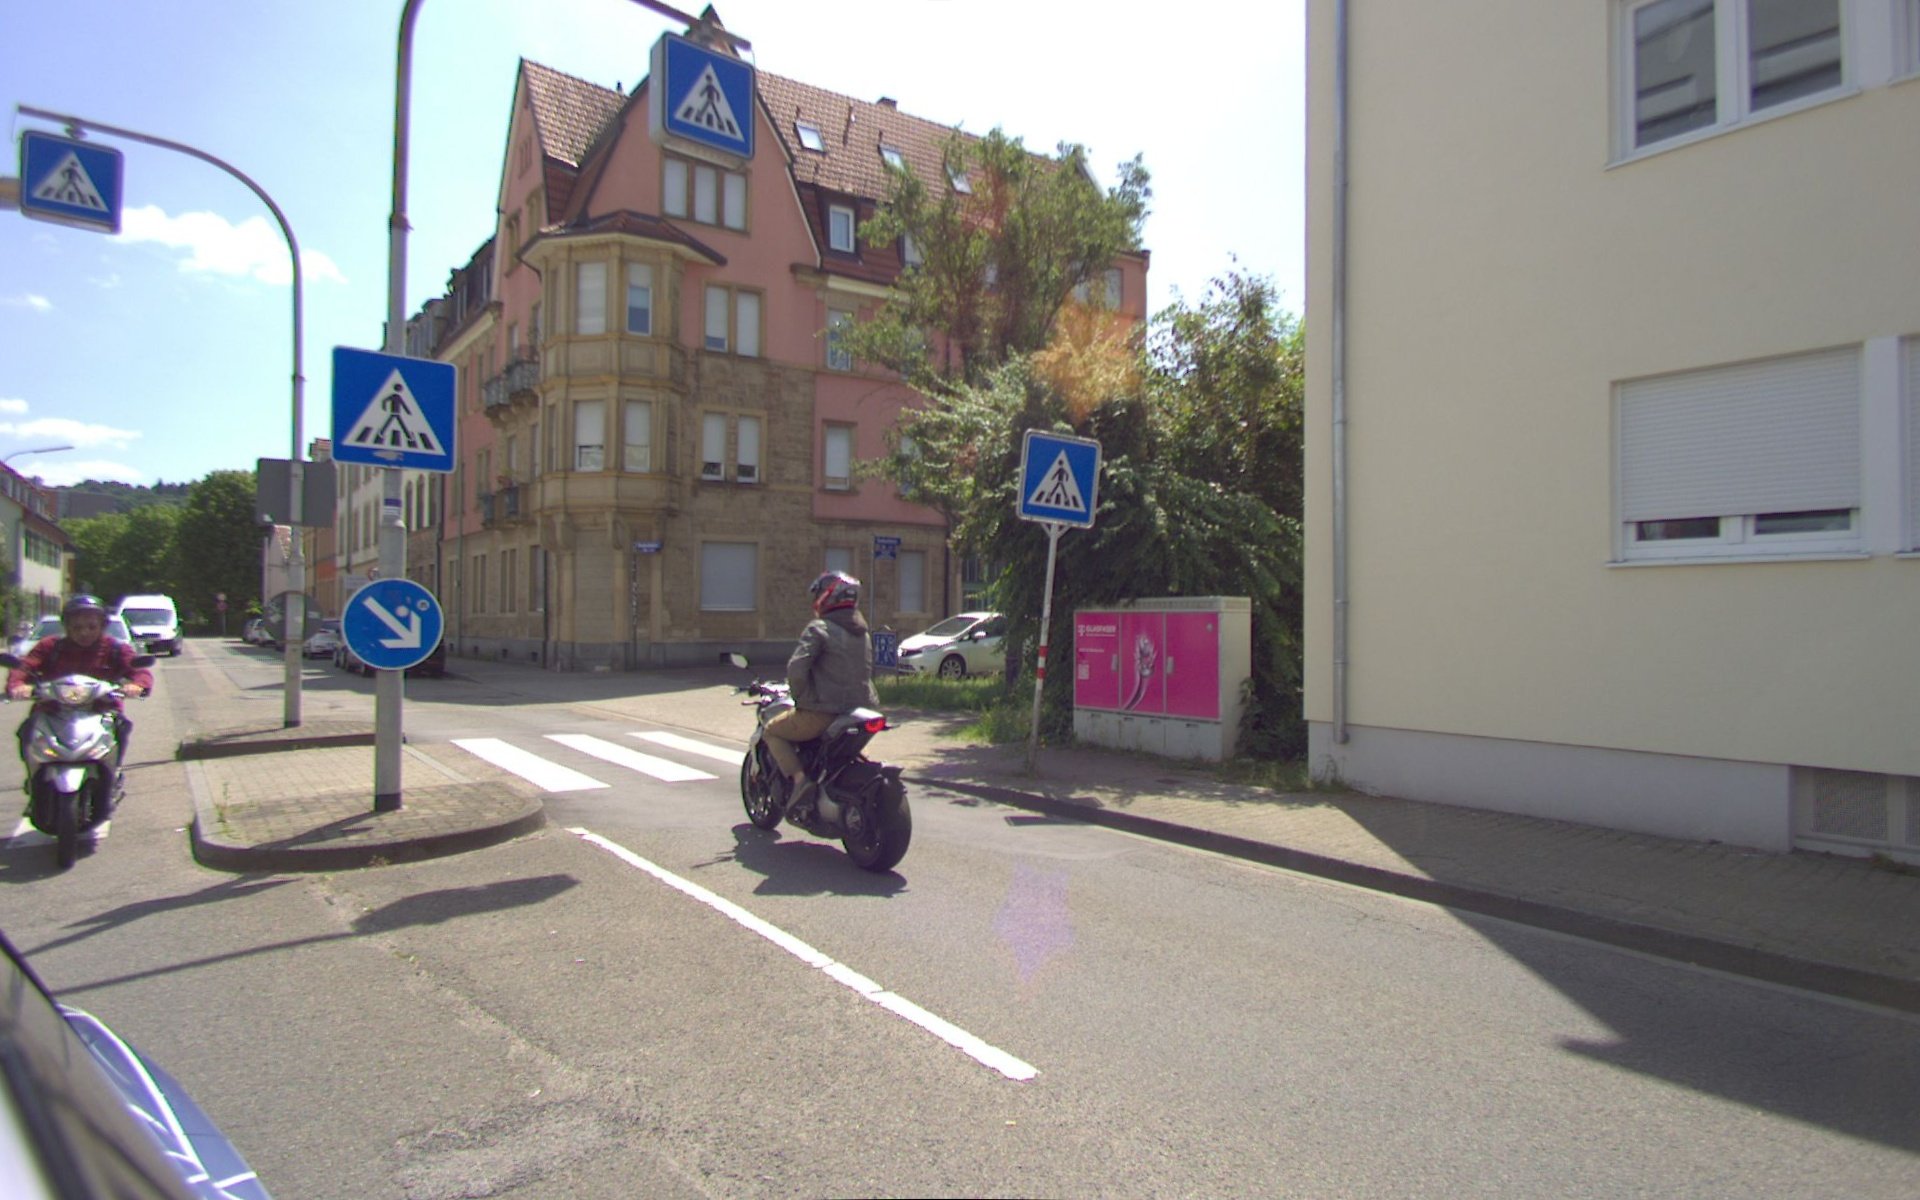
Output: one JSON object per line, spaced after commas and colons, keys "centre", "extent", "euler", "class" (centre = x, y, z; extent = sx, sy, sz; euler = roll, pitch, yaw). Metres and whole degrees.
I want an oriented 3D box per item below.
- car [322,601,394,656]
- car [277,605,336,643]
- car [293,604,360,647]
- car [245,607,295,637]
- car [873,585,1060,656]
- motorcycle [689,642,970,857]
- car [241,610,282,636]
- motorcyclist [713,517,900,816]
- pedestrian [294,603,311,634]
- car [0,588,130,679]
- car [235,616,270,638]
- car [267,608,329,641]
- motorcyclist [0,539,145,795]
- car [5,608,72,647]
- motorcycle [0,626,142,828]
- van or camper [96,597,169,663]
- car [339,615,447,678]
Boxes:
{"centre": [-17.438, 0.810, 29.280], "extent": [1.418, 1.534, 2.700], "euler": [2, -2, -39], "class": "car"}
{"centre": [-26.654, 0.983, 41.215], "extent": [1.578, 1.453, 3.501], "euler": [2, -2, -40], "class": "car"}
{"centre": [-23.006, 0.937, 36.692], "extent": [1.613, 1.442, 4.026], "euler": [3, -3, -38], "class": "car"}
{"centre": [-36.286, 1.175, 53.199], "extent": [1.854, 1.522, 4.390], "euler": [2, -2, -38], "class": "car"}
{"centre": [0.177, 0.453, 23.289], "extent": [3.933, 1.513, 1.874], "euler": [0, -1, -34], "class": "car"}
{"centre": [-0.892, 0.794, 6.181], "extent": [0.703, 1.036, 2.244], "euler": [2, -2, -36], "class": "motorcycle"}
{"centre": [-41.492, 1.360, 60.108], "extent": [1.688, 1.470, 3.860], "euler": [3, -3, -39], "class": "car"}
{"centre": [-0.962, 0.384, 6.222], "extent": [0.703, 1.647, 1.071], "euler": [2, -2, -36], "class": "motorcyclist"}
{"centre": [-38.790, 1.103, 59.697], "extent": [0.758, 1.784, 0.765], "euler": [-1, -1, -39], "class": "pedestrian"}
{"centre": [-16.841, 0.605, 19.091], "extent": [1.784, 1.533, 4.007], "euler": [0, -1, -39], "class": "car"}
{"centre": [-48.933, 1.883, 69.977], "extent": [1.706, 1.453, 3.864], "euler": [2, -2, -39], "class": "car"}
{"centre": [-30.072, 1.114, 45.925], "extent": [1.849, 1.449, 4.225], "euler": [2, -2, -40], "class": "car"}
{"centre": [-5.565, 0.387, 6.277], "extent": [0.781, 1.451, 1.022], "euler": [0, -1, -39], "class": "motorcyclist"}
{"centre": [-34.273, 1.025, 37.706], "extent": [1.635, 1.386, 4.246], "euler": [2, -2, -40], "class": "car"}
{"centre": [-5.586, 0.700, 6.306], "extent": [0.748, 1.063, 1.995], "euler": [0, -1, -39], "class": "motorcycle"}
{"centre": [-31.020, 1.120, 37.967], "extent": [1.968, 2.304, 5.153], "euler": [2, -2, -39], "class": "van or camper"}
{"centre": [-14.700, 1.130, 26.114], "extent": [1.759, 1.469, 4.644], "euler": [2, -2, -37], "class": "car"}
